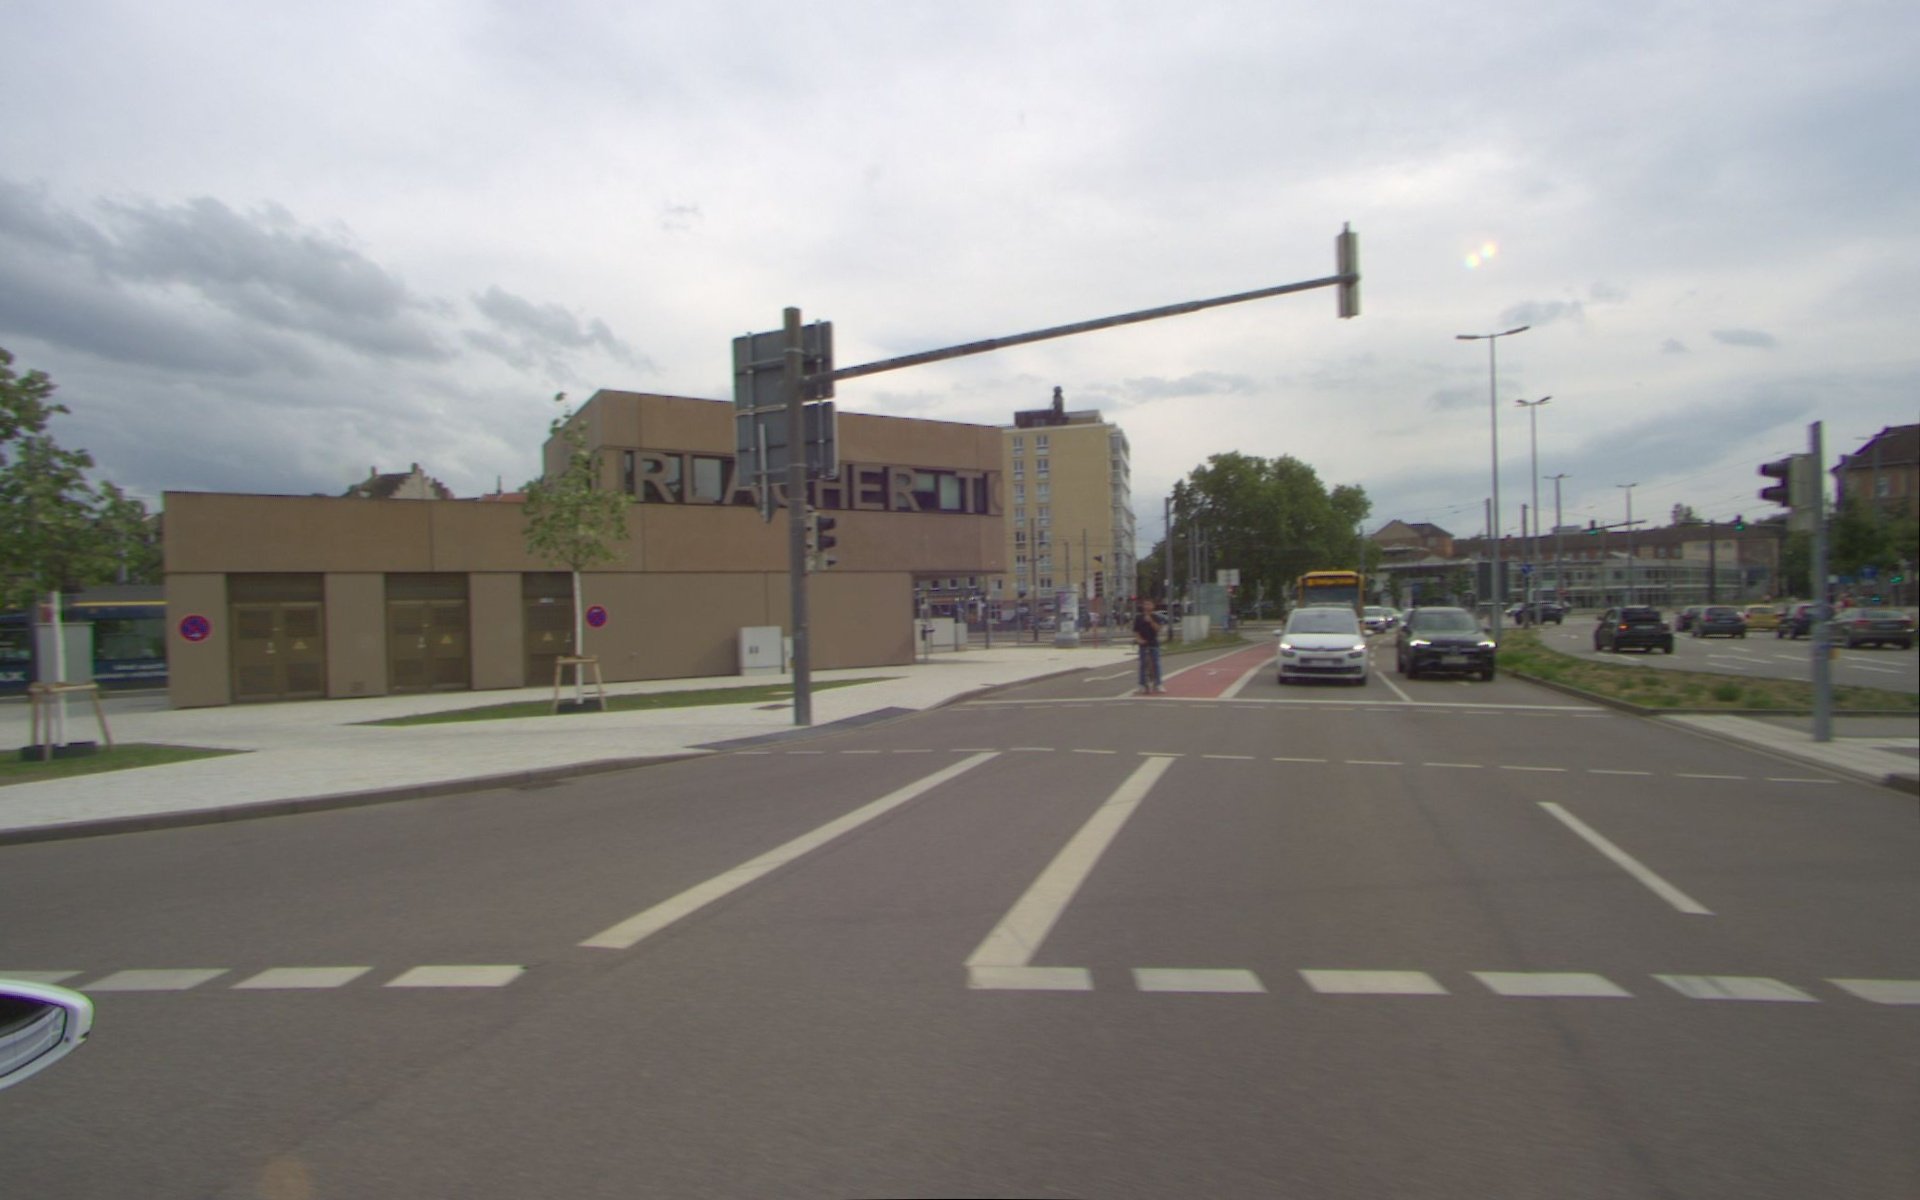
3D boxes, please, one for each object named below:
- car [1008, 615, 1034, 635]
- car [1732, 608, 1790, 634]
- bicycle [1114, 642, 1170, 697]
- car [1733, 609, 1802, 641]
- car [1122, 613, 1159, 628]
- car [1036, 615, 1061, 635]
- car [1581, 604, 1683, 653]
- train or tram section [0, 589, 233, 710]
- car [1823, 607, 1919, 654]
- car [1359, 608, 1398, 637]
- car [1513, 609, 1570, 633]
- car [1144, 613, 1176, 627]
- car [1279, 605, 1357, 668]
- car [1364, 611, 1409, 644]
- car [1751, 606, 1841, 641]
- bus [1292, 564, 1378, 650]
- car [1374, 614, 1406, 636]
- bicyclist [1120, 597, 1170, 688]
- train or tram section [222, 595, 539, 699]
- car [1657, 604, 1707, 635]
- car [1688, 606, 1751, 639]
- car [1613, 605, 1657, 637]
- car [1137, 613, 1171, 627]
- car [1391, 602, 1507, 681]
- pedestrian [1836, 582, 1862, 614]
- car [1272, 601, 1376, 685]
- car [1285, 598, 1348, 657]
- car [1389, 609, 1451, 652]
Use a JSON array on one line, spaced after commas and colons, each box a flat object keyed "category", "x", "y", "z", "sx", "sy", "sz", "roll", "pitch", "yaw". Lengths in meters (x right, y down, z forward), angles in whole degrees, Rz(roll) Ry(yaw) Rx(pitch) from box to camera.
[{"category": "car", "x": 6.443, "y": 2.593, "z": 105.955, "sx": 1.963, "sy": 2.040, "sz": 3.996, "roll": 0, "pitch": -1, "yaw": 15}, {"category": "car", "x": 44.568, "y": 1.164, "z": 55.771, "sx": 1.681, "sy": 1.438, "sz": 3.689, "roll": 0, "pitch": -1, "yaw": 25}, {"category": "bicycle", "x": 3.499, "y": 1.284, "z": 19.043, "sx": 0.849, "sy": 0.888, "sz": 2.516, "roll": 0, "pitch": -1, "yaw": 15}, {"category": "car", "x": 37.845, "y": 1.158, "z": 47.004, "sx": 1.681, "sy": 1.438, "sz": 3.689, "roll": 0, "pitch": -1, "yaw": 25}, {"category": "car", "x": 20.751, "y": 2.310, "z": 114.993, "sx": 3.928, "sy": 1.706, "sz": 1.603, "roll": 0, "pitch": 0, "yaw": 18}, {"category": "car", "x": 9.318, "y": 2.606, "z": 105.202, "sx": 1.963, "sy": 2.040, "sz": 3.996, "roll": 0, "pitch": -1, "yaw": 15}, {"category": "car", "x": 21.968, "y": 0.917, "z": 32.886, "sx": 1.640, "sy": 1.509, "sz": 3.439, "roll": 0, "pitch": -1, "yaw": 13}, {"category": "train or tram section", "x": -28.298, "y": 1.453, "z": 30.438, "sx": 9.796, "sy": 3.495, "sz": 3.044, "roll": 1, "pitch": -1, "yaw": -33}, {"category": "car", "x": 31.750, "y": 1.039, "z": 34.895, "sx": 1.645, "sy": 1.527, "sz": 3.622, "roll": 0, "pitch": -1, "yaw": 26}, {"category": "car", "x": 25.922, "y": 1.380, "z": 62.101, "sx": 1.965, "sy": 1.672, "sz": 4.504, "roll": 0, "pitch": -1, "yaw": 20}, {"category": "car", "x": 41.502, "y": 1.469, "z": 71.548, "sx": 1.767, "sy": 1.636, "sz": 3.545, "roll": 1, "pitch": -1, "yaw": -8}, {"category": "car", "x": 25.836, "y": 2.588, "z": 129.350, "sx": 3.928, "sy": 1.706, "sz": 1.603, "roll": 0, "pitch": 0, "yaw": 18}, {"category": "car", "x": 10.288, "y": 1.004, "z": 28.819, "sx": 1.965, "sy": 1.672, "sz": 4.282, "roll": 0, "pitch": -1, "yaw": 20}, {"category": "car", "x": 23.356, "y": 1.484, "z": 54.964, "sx": 1.965, "sy": 1.672, "sz": 4.504, "roll": 0, "pitch": -1, "yaw": 20}, {"category": "car", "x": 35.887, "y": 1.003, "z": 43.100, "sx": 2.104, "sy": 1.438, "sz": 3.688, "roll": 0, "pitch": -1, "yaw": 26}, {"category": "bus", "x": 16.782, "y": 0.360, "z": 44.744, "sx": 3.103, "sy": 3.297, "sz": 12.387, "roll": 0, "pitch": -1, "yaw": 21}, {"category": "car", "x": 33.638, "y": 1.957, "z": 78.415, "sx": 1.965, "sy": 1.672, "sz": 4.504, "roll": 0, "pitch": -1, "yaw": 20}, {"category": "bicyclist", "x": 3.543, "y": 0.796, "z": 19.145, "sx": 0.853, "sy": 1.691, "sz": 0.880, "roll": 0, "pitch": 0, "yaw": 15}, {"category": "train or tram section", "x": -20.238, "y": 1.572, "z": 35.585, "sx": 9.373, "sy": 3.289, "sz": 3.044, "roll": 1, "pitch": -1, "yaw": -33}, {"category": "car", "x": 39.270, "y": 1.051, "z": 54.502, "sx": 1.813, "sy": 1.636, "sz": 3.531, "roll": 0, "pitch": -1, "yaw": 30}, {"category": "car", "x": 34.362, "y": 1.009, "z": 45.388, "sx": 1.690, "sy": 1.438, "sz": 3.984, "roll": 0, "pitch": -1, "yaw": 29}, {"category": "car", "x": 32.141, "y": 0.992, "z": 47.678, "sx": 1.677, "sy": 1.423, "sz": 3.678, "roll": 0, "pitch": -1, "yaw": 34}, {"category": "car", "x": 23.798, "y": 2.466, "z": 122.955, "sx": 3.928, "sy": 1.706, "sz": 1.603, "roll": 0, "pitch": 0, "yaw": 18}, {"category": "car", "x": 11.492, "y": 0.933, "z": 23.820, "sx": 1.965, "sy": 1.672, "sz": 4.504, "roll": 0, "pitch": -1, "yaw": 20}, {"category": "pedestrian", "x": 45.242, "y": -0.083, "z": 50.969, "sx": 0.769, "sy": 1.594, "sz": 0.808, "roll": -3, "pitch": -1, "yaw": 32}, {"category": "car", "x": 8.082, "y": 0.902, "z": 22.320, "sx": 1.965, "sy": 1.672, "sz": 4.282, "roll": 0, "pitch": -1, "yaw": 20}, {"category": "car", "x": 12.540, "y": 0.934, "z": 35.229, "sx": 1.965, "sy": 1.923, "sz": 4.282, "roll": 0, "pitch": -1, "yaw": 20}, {"category": "car", "x": 19.208, "y": 1.235, "z": 41.974, "sx": 1.965, "sy": 1.672, "sz": 4.504, "roll": 0, "pitch": -1, "yaw": 20}]
